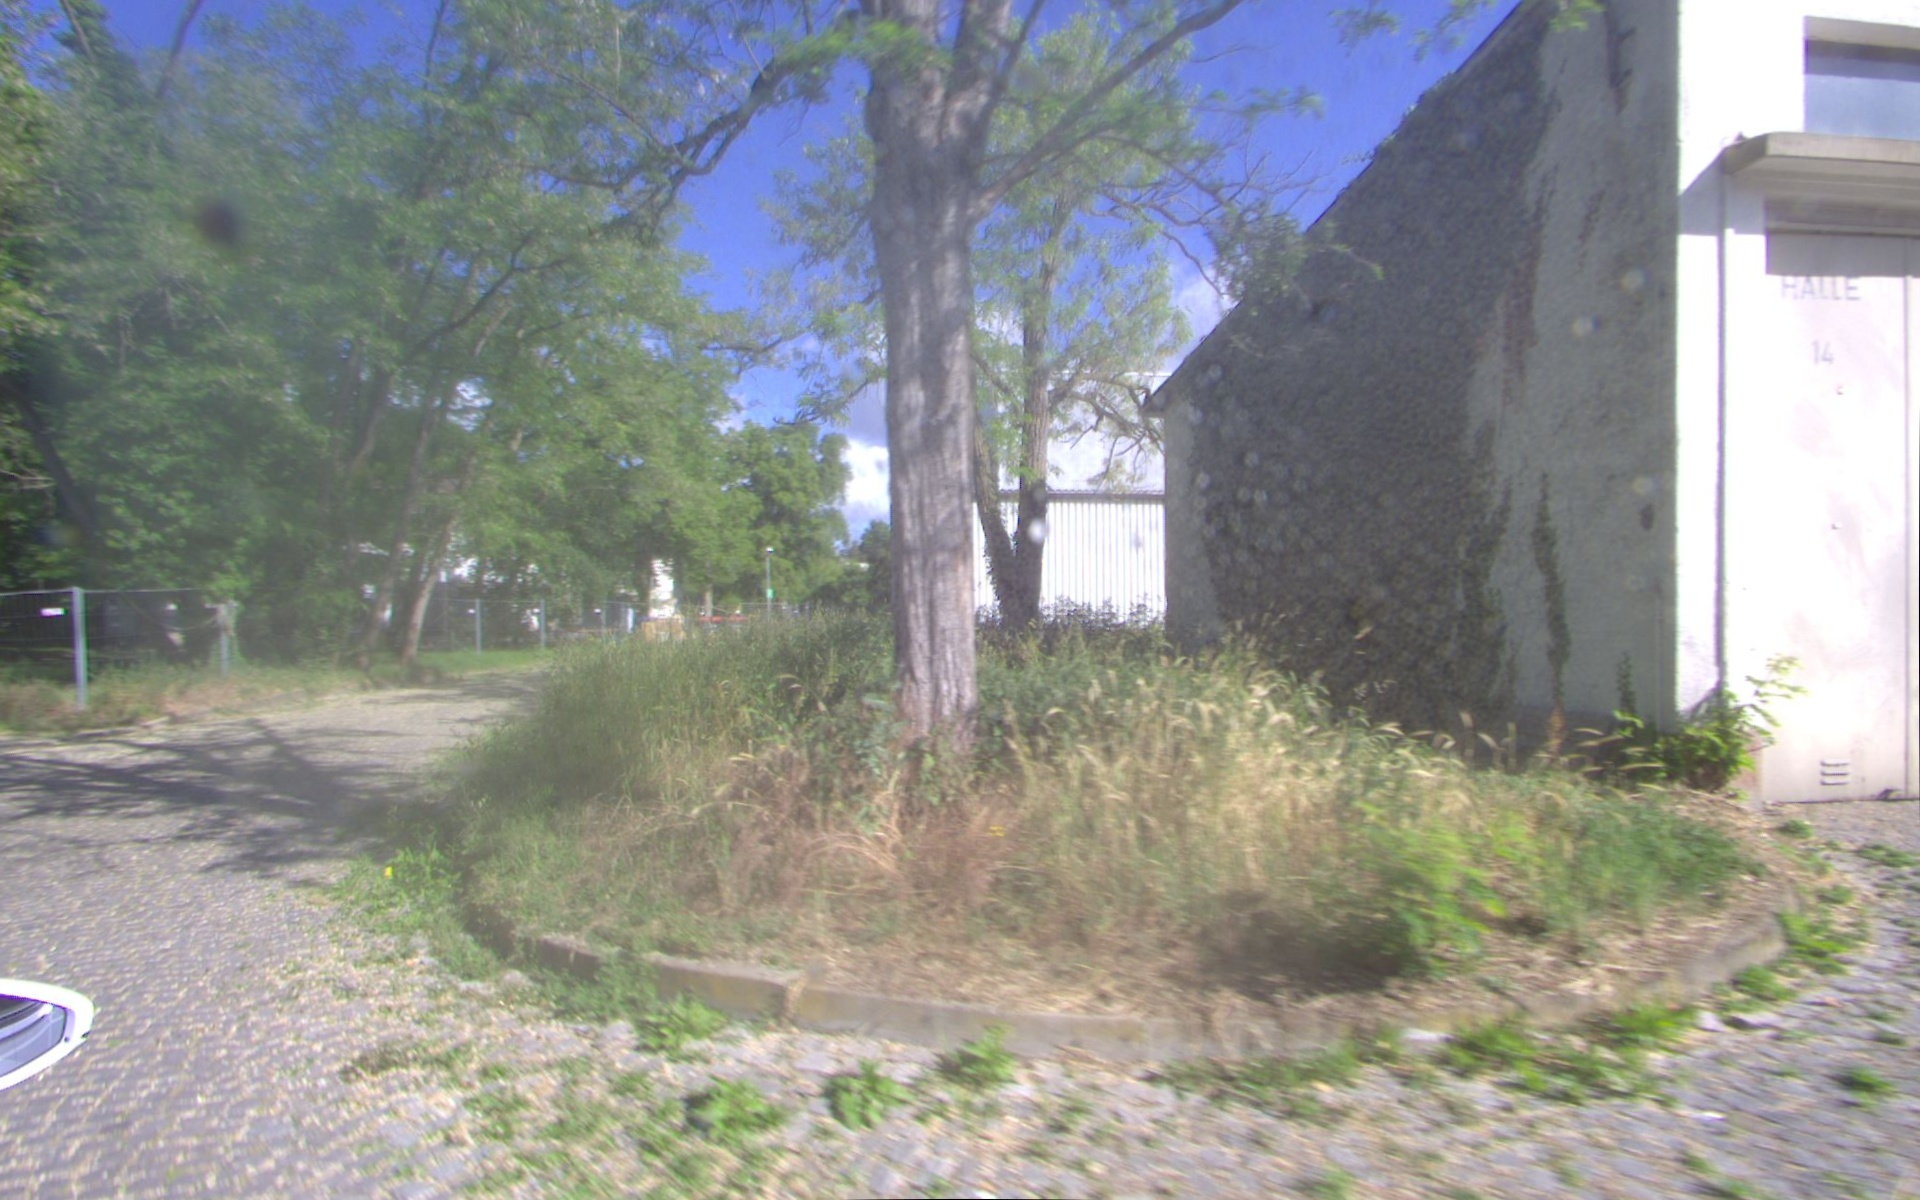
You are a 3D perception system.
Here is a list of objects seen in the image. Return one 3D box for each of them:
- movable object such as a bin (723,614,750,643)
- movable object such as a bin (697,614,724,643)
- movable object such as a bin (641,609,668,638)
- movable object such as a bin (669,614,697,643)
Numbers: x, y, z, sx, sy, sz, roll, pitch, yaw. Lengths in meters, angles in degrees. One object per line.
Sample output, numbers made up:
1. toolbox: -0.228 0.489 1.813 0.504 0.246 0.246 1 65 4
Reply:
1. movable object such as a bin: -11.524 1.475 51.708 1.267 1.445 1.032 -1 0 -10
2. movable object such as a bin: -12.814 1.462 51.490 1.267 1.445 1.032 -1 0 -9
3. movable object such as a bin: -15.551 1.199 51.006 1.066 1.457 1.056 -1 0 -5
4. movable object such as a bin: -14.195 1.438 51.334 1.267 1.445 1.032 -1 0 -9
